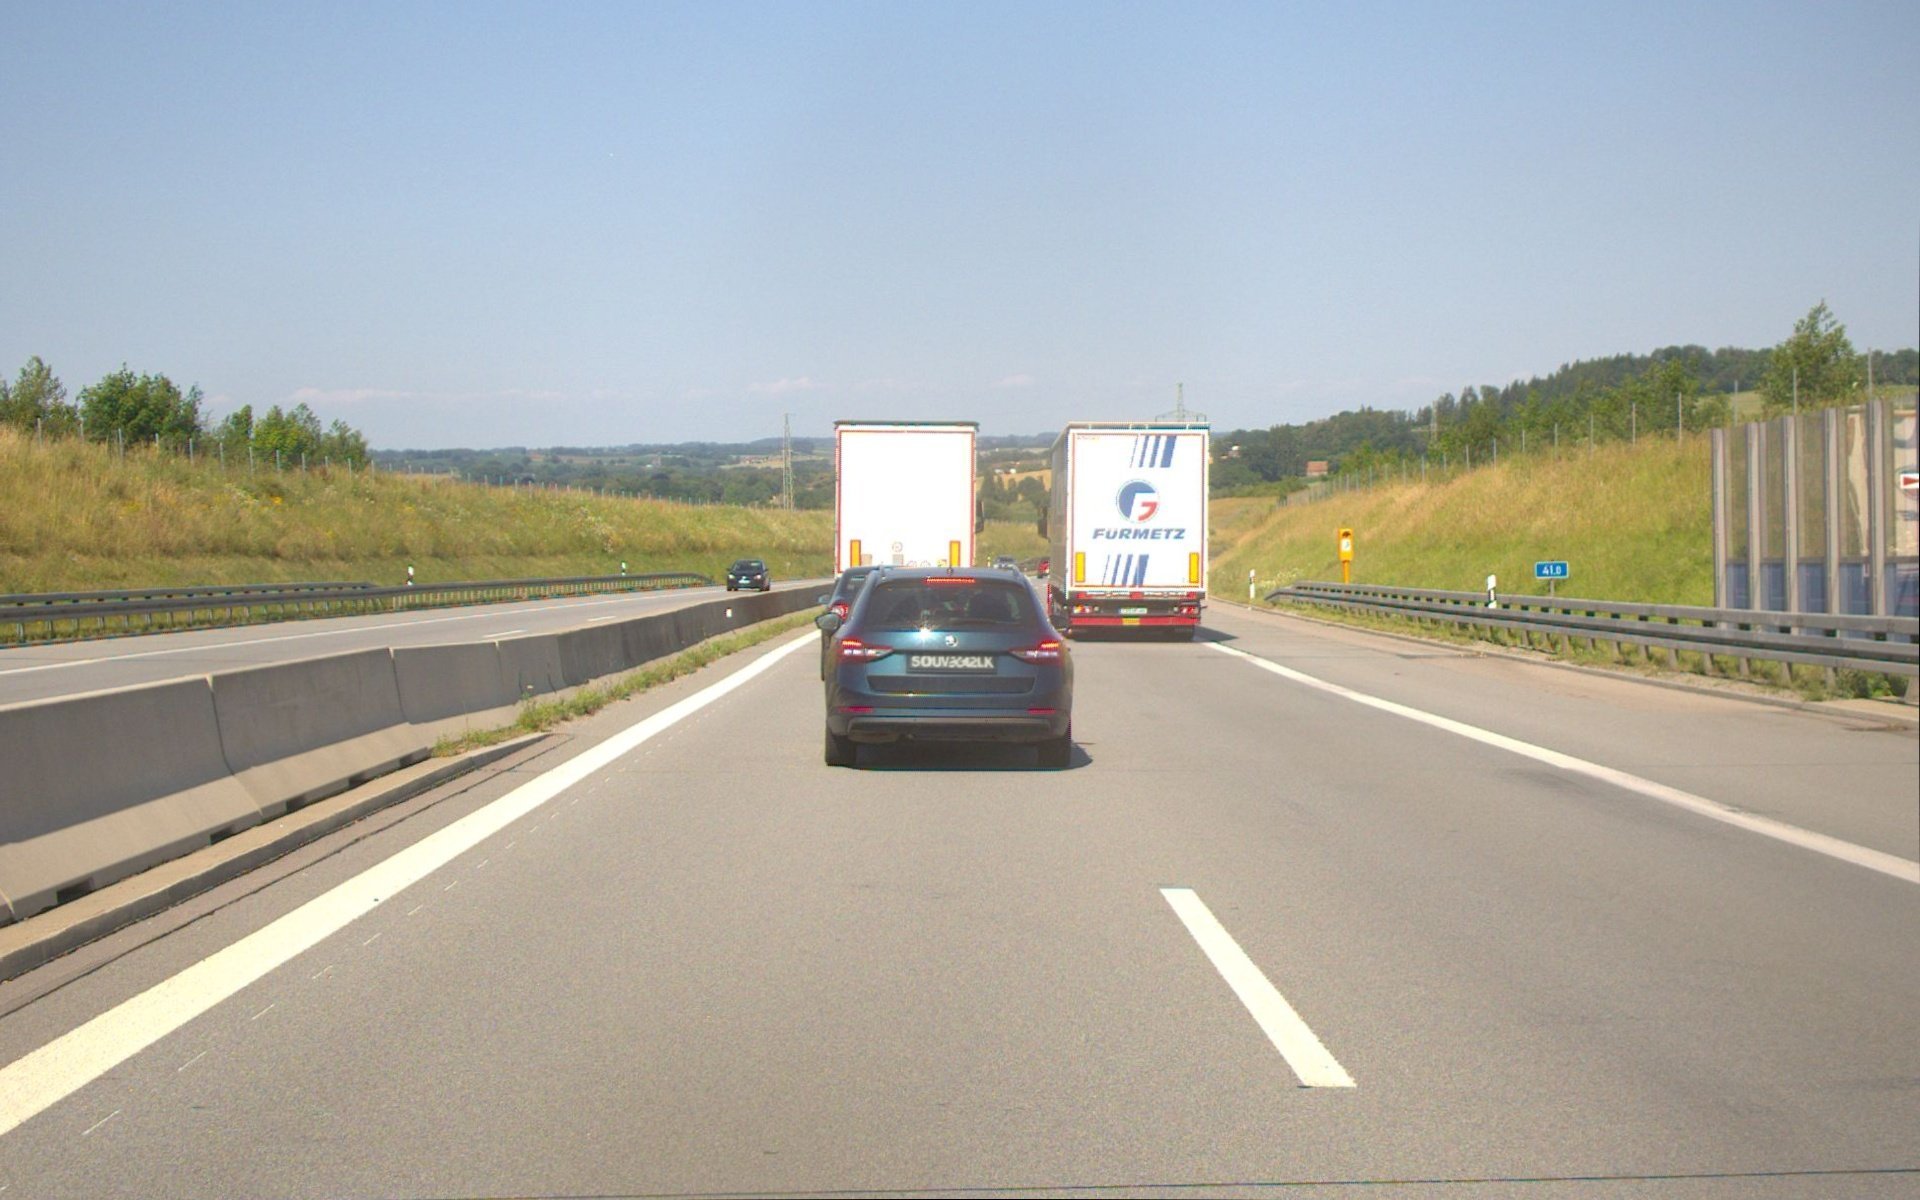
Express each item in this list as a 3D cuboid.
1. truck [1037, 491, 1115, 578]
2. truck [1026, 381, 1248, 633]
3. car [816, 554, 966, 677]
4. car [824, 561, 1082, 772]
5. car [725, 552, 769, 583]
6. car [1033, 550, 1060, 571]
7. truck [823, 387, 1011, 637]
[{"bbox_3d":[6.159,-3.488,184.352,3.604,4.366,11.234,-2,1,0],"label":"truck"},{"bbox_3d":[3.269,-1.744,67.114,3.604,4.366,11.234,-2,1,0],"label":"truck"},{"bbox_3d":[-0.933,0.161,44.189,1.700,1.436,4.001,-2,1,-4],"label":"car"},{"bbox_3d":[-0.096,0.439,25.638,1.776,1.436,3.789,0,1,-1],"label":"car"},{"bbox_3d":[-9.925,-1.512,160.355,1.746,1.351,4.000,-2,1,0],"label":"car"},{"bbox_3d":[6.045,-2.786,240.090,1.700,1.436,4.000,0,1,-1],"label":"car"},{"bbox_3d":[-0.738,-1.668,67.488,3.211,4.366,11.234,-2,1,0],"label":"truck"}]
